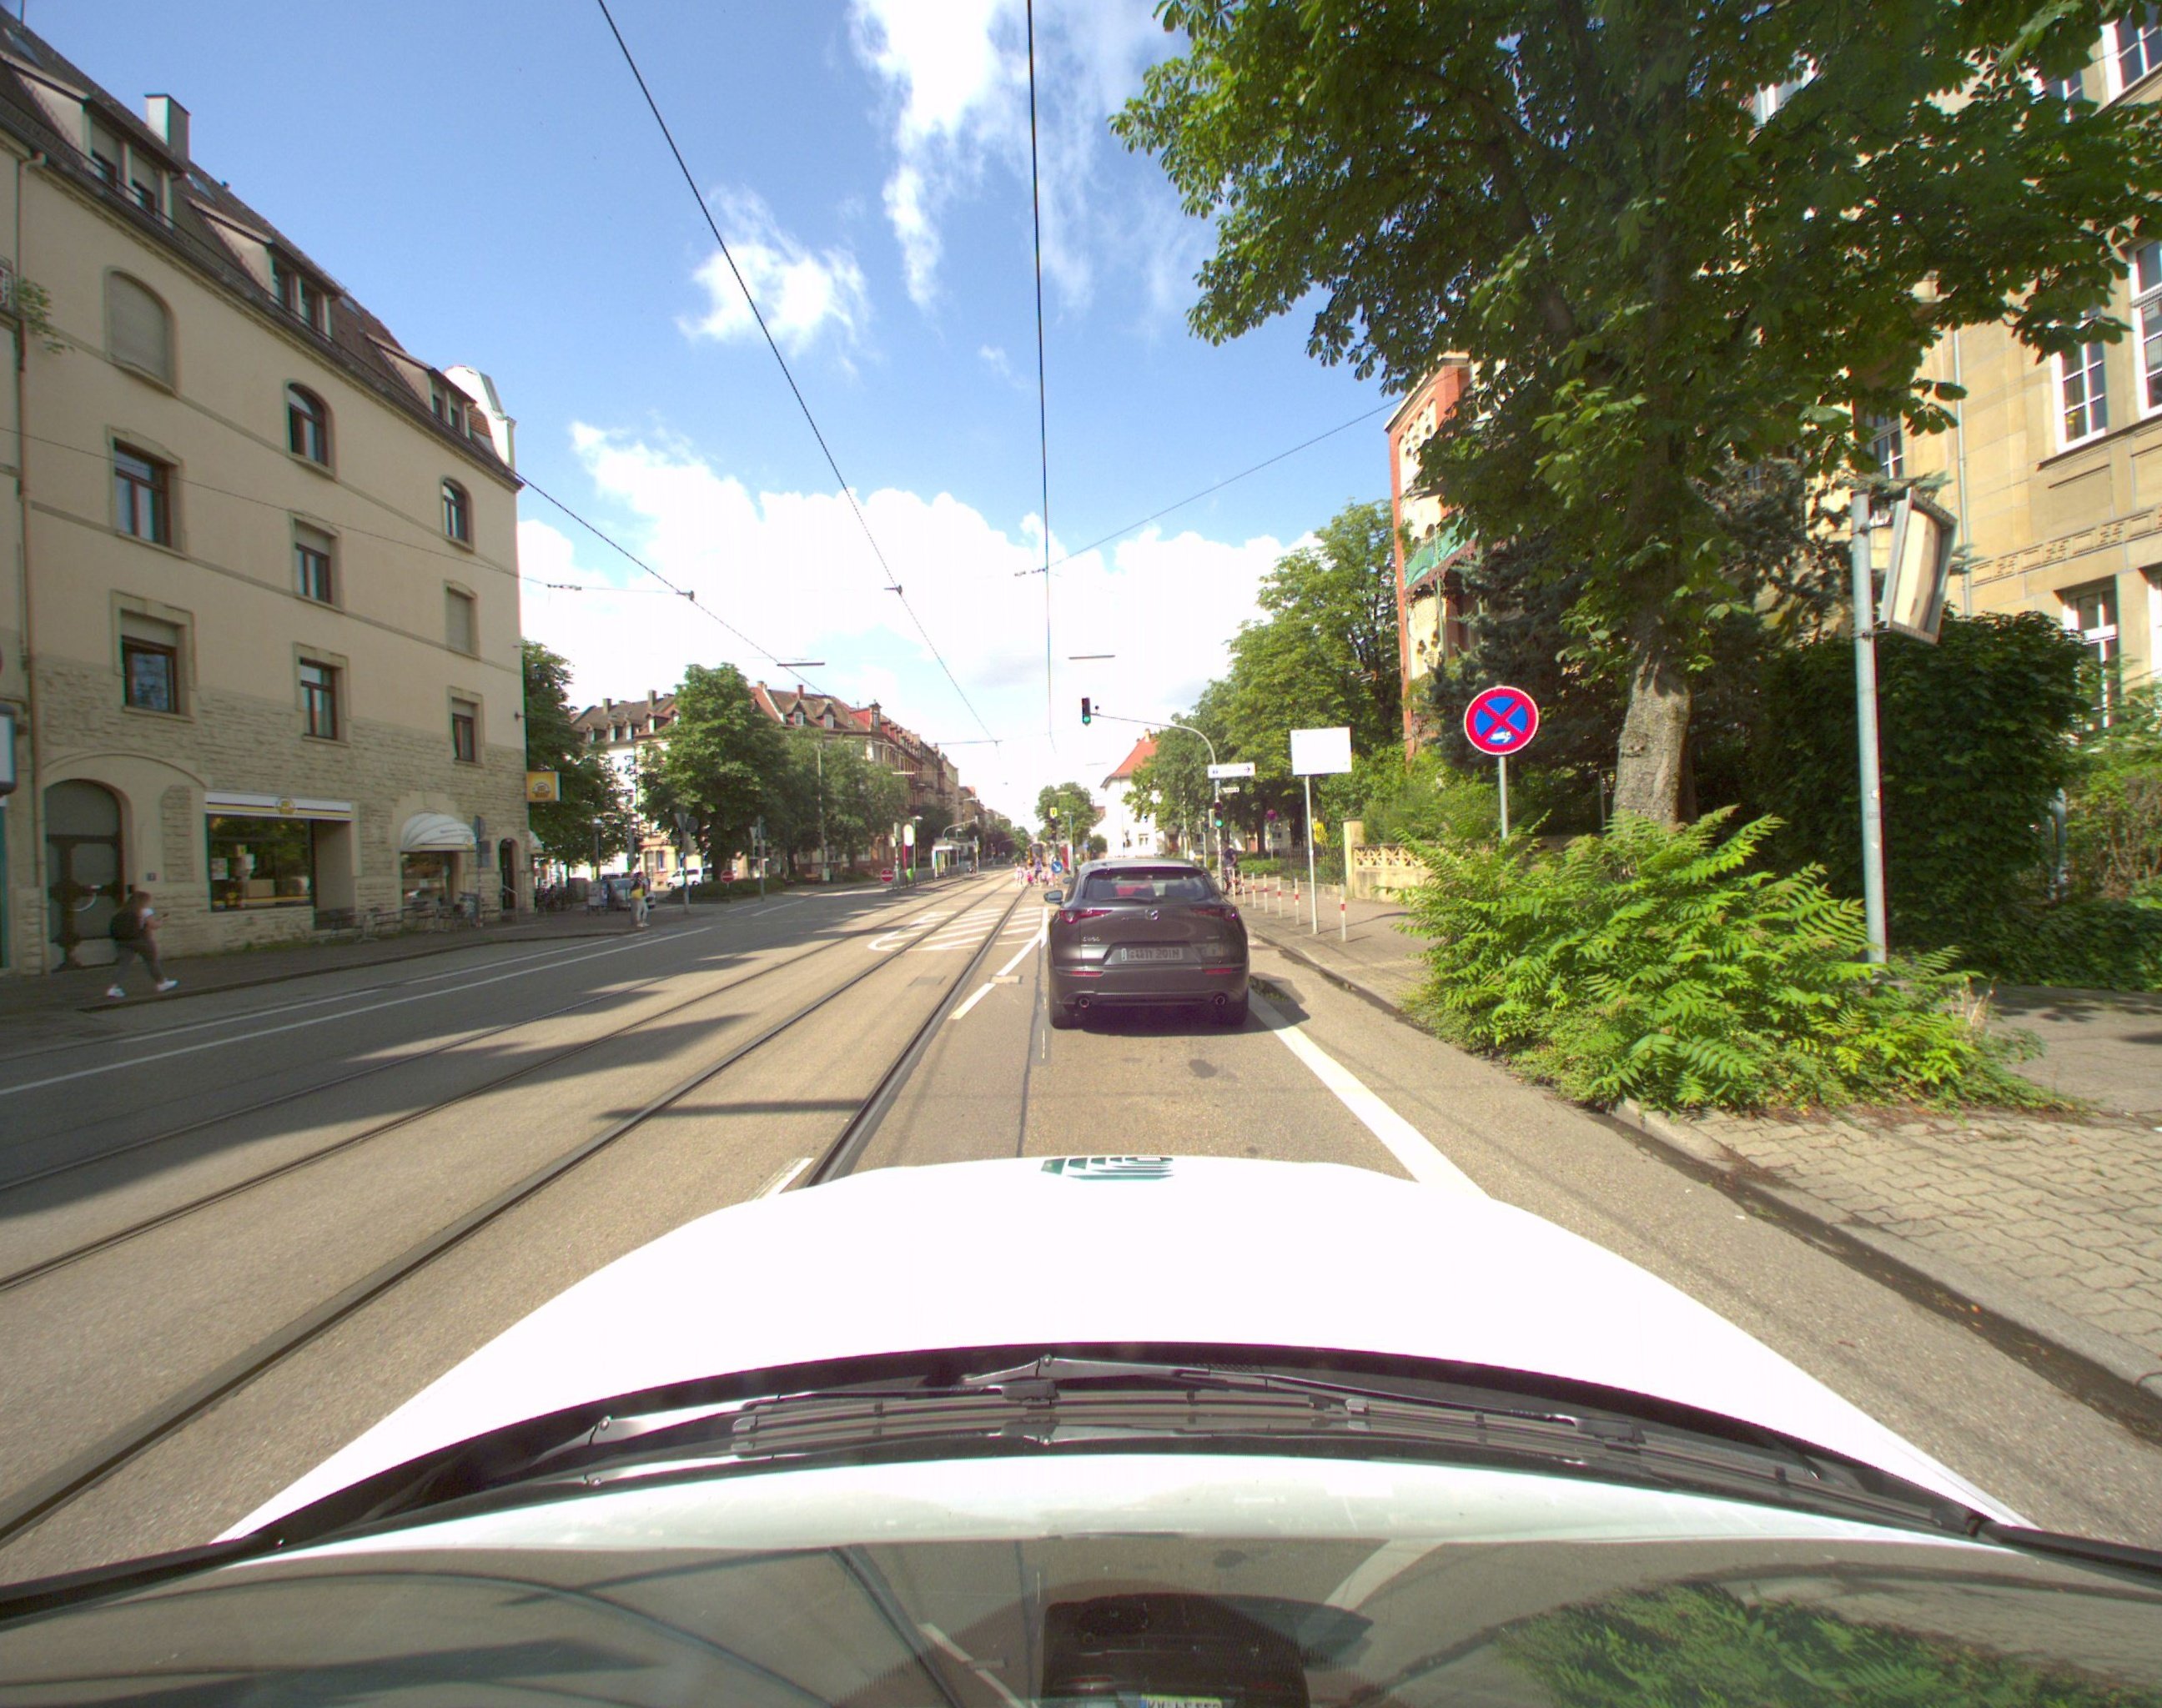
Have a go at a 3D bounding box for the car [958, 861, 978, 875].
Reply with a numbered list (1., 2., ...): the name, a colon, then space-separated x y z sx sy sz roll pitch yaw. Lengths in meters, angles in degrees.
1. car: -12.243 1.473 88.407 1.620 1.387 3.434 -4 0 -2

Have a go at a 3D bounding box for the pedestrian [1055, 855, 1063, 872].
1. pedestrian: -2.069 0.872 76.459 0.666 1.546 0.580 -2 0 -3

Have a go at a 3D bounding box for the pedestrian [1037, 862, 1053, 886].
1. pedestrian: -1.789 0.995 40.599 0.642 1.114 0.441 -3 0 -16

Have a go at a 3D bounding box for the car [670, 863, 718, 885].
1. car: -37.203 1.909 78.322 3.901 1.988 1.866 -2 0 21

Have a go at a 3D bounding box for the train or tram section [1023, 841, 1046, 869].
1. train or tram section: -7.163 0.287 126.359 2.990 3.983 13.797 -3 -1 -2

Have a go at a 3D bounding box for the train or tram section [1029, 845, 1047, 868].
1. train or tram section: -8.019 0.632 153.975 2.990 3.983 13.797 -3 -1 -2

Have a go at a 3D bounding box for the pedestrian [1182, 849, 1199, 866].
1. pedestrian: 8.830 0.266 65.554 1.191 1.269 0.556 -5 0 -7

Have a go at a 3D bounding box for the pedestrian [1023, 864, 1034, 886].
1. pedestrian: -2.674 1.061 41.259 0.437 1.108 0.422 -5 0 -7

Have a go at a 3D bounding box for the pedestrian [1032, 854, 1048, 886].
1. pedestrian: -2.082 0.802 41.180 0.727 1.565 0.797 -3 0 -7

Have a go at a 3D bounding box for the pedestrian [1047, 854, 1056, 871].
1. pedestrian: -2.876 0.830 79.551 0.769 1.674 0.667 -3 0 -3

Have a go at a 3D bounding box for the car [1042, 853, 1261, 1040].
1. car: 0.651 0.770 8.652 1.775 1.514 4.002 0 0 2

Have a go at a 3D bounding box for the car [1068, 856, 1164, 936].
1. car: 0.690 0.781 17.021 1.769 1.464 3.843 -1 0 1

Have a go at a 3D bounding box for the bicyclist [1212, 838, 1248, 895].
1. bicyclist: 4.892 0.395 26.725 0.736 1.819 0.814 -3 0 -25

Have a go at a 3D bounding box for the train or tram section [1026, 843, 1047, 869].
1. train or tram section: -7.591 0.458 140.171 2.990 3.983 13.797 -3 -1 -2

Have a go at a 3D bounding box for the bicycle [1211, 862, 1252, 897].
1. bicycle: 4.976 0.824 26.845 0.385 1.035 1.857 -3 0 42

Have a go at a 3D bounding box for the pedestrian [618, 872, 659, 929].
1. pedestrian: -13.819 1.430 25.459 0.754 1.704 0.873 2 -1 -3

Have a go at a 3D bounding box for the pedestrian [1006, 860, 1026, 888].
1. pedestrian: -3.225 0.992 40.313 0.825 1.303 0.716 -5 0 -7

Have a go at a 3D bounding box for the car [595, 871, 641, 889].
1. car: -46.447 2.601 81.697 3.895 1.663 1.926 -3 0 20

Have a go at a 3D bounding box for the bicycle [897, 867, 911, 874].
1. bicycle: -20.238 1.884 93.127 0.381 0.747 1.722 -3 0 34

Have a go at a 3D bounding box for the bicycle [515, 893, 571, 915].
1. bicycle: -24.373 2.257 36.905 0.516 0.882 2.043 -3 -2 44

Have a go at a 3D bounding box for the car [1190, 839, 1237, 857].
1. car: 12.792 -0.603 78.761 4.118 1.509 1.864 -3 1 40

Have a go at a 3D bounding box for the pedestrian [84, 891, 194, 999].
1. pedestrian: -14.581 1.379 12.637 0.696 1.541 0.957 2 -1 -21

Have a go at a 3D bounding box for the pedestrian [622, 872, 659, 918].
1. pedestrian: -16.527 1.529 30.550 0.852 1.672 0.822 -3 0 -1

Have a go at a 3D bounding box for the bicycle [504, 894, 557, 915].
1. bicycle: -26.162 2.380 38.724 0.505 0.882 2.043 -3 -2 44

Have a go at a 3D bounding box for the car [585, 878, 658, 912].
1. car: -21.278 1.883 37.643 3.823 1.420 1.732 -3 0 41

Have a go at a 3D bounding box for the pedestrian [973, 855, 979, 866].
1. pedestrian: -16.264 0.955 126.415 0.785 1.688 0.732 -3 0 -1
